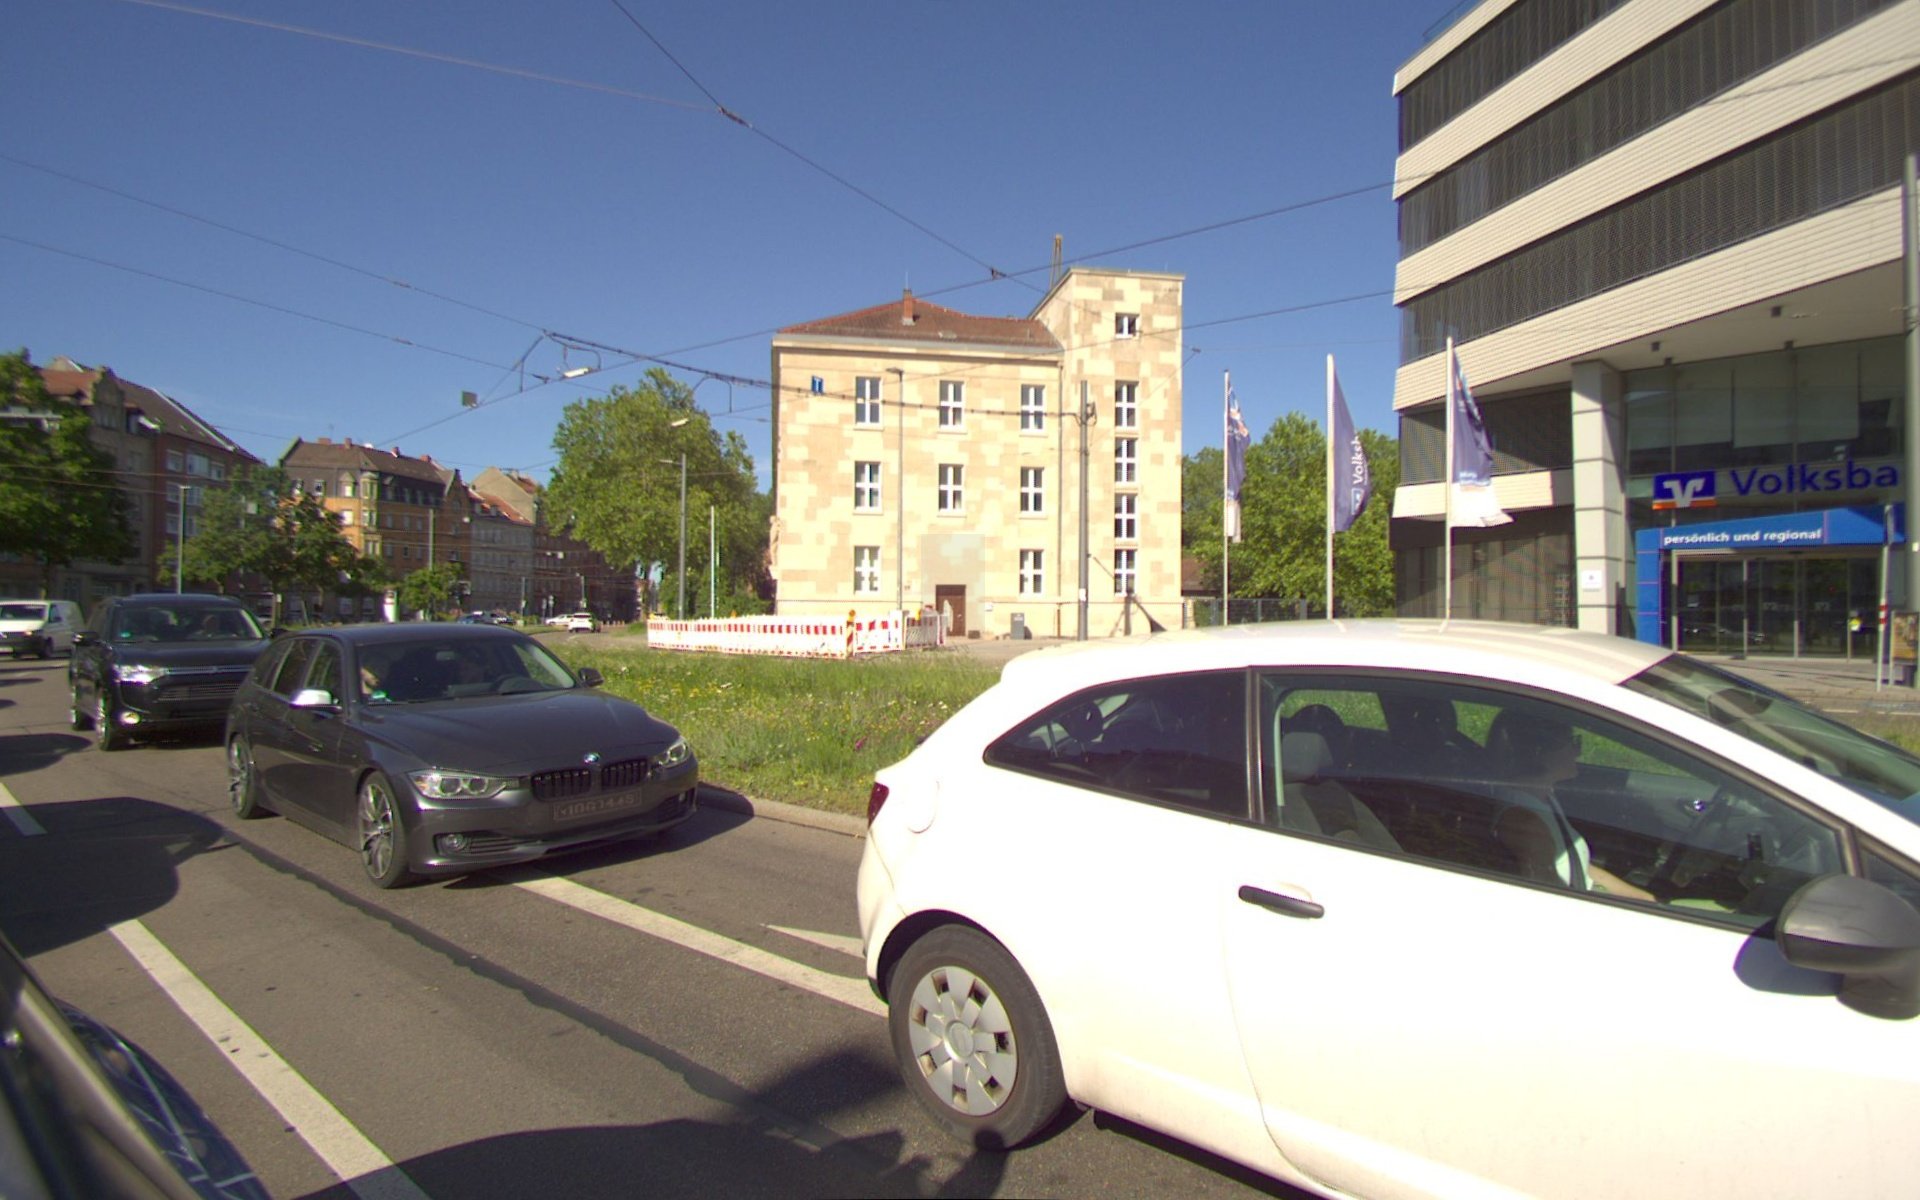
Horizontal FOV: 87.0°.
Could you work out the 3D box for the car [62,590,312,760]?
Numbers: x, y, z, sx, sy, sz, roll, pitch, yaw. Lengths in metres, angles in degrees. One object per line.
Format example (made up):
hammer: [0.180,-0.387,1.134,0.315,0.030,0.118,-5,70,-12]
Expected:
car: [-9.383,0.769,12.137,1.817,1.658,4.400,-1,-1,-45]

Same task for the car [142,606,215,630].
car: [-53.937,1.270,69.878,3.771,1.603,1.601,2,-2,-44]

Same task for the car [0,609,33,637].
car: [-48.769,1.149,50.390,3.768,1.390,1.602,2,-2,-41]

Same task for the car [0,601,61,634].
car: [-49.935,0.888,52.796,4.514,1.680,1.601,2,-2,-43]

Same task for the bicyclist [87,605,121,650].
bicyclist: [-39.364,1.272,46.556,0.835,2.029,1.200,0,-1,-21]

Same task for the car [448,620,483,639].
car: [-46.053,2.738,94.287,1.811,1.659,4.157,1,-1,-10]

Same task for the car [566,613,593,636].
car: [-27.832,1.778,74.060,1.794,1.658,4.195,0,-1,-20]

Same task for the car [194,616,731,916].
car: [-3.600,0.824,6.887,4.424,1.377,1.719,-1,0,41]

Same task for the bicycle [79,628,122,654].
bicycle: [-39.312,1.858,46.321,0.751,1.153,2.290,0,-1,-21]

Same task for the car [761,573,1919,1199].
car: [1.479,0.691,2.487,4.020,1.452,1.714,0,2,40]

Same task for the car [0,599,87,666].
car: [-31.223,1.049,33.900,1.949,2.101,4.728,2,-1,-28]

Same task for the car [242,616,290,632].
car: [-76.356,2.624,111.414,4.001,1.669,1.772,1,-1,-16]

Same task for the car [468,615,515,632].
car: [-53.381,2.641,115.422,4.538,1.889,1.995,-1,0,9]

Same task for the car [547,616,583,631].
car: [-47.361,2.803,121.507,3.931,1.663,1.868,-1,0,-18]

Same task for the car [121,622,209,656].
car: [-38.114,1.840,48.647,1.809,1.483,4.728,1,-1,-19]
